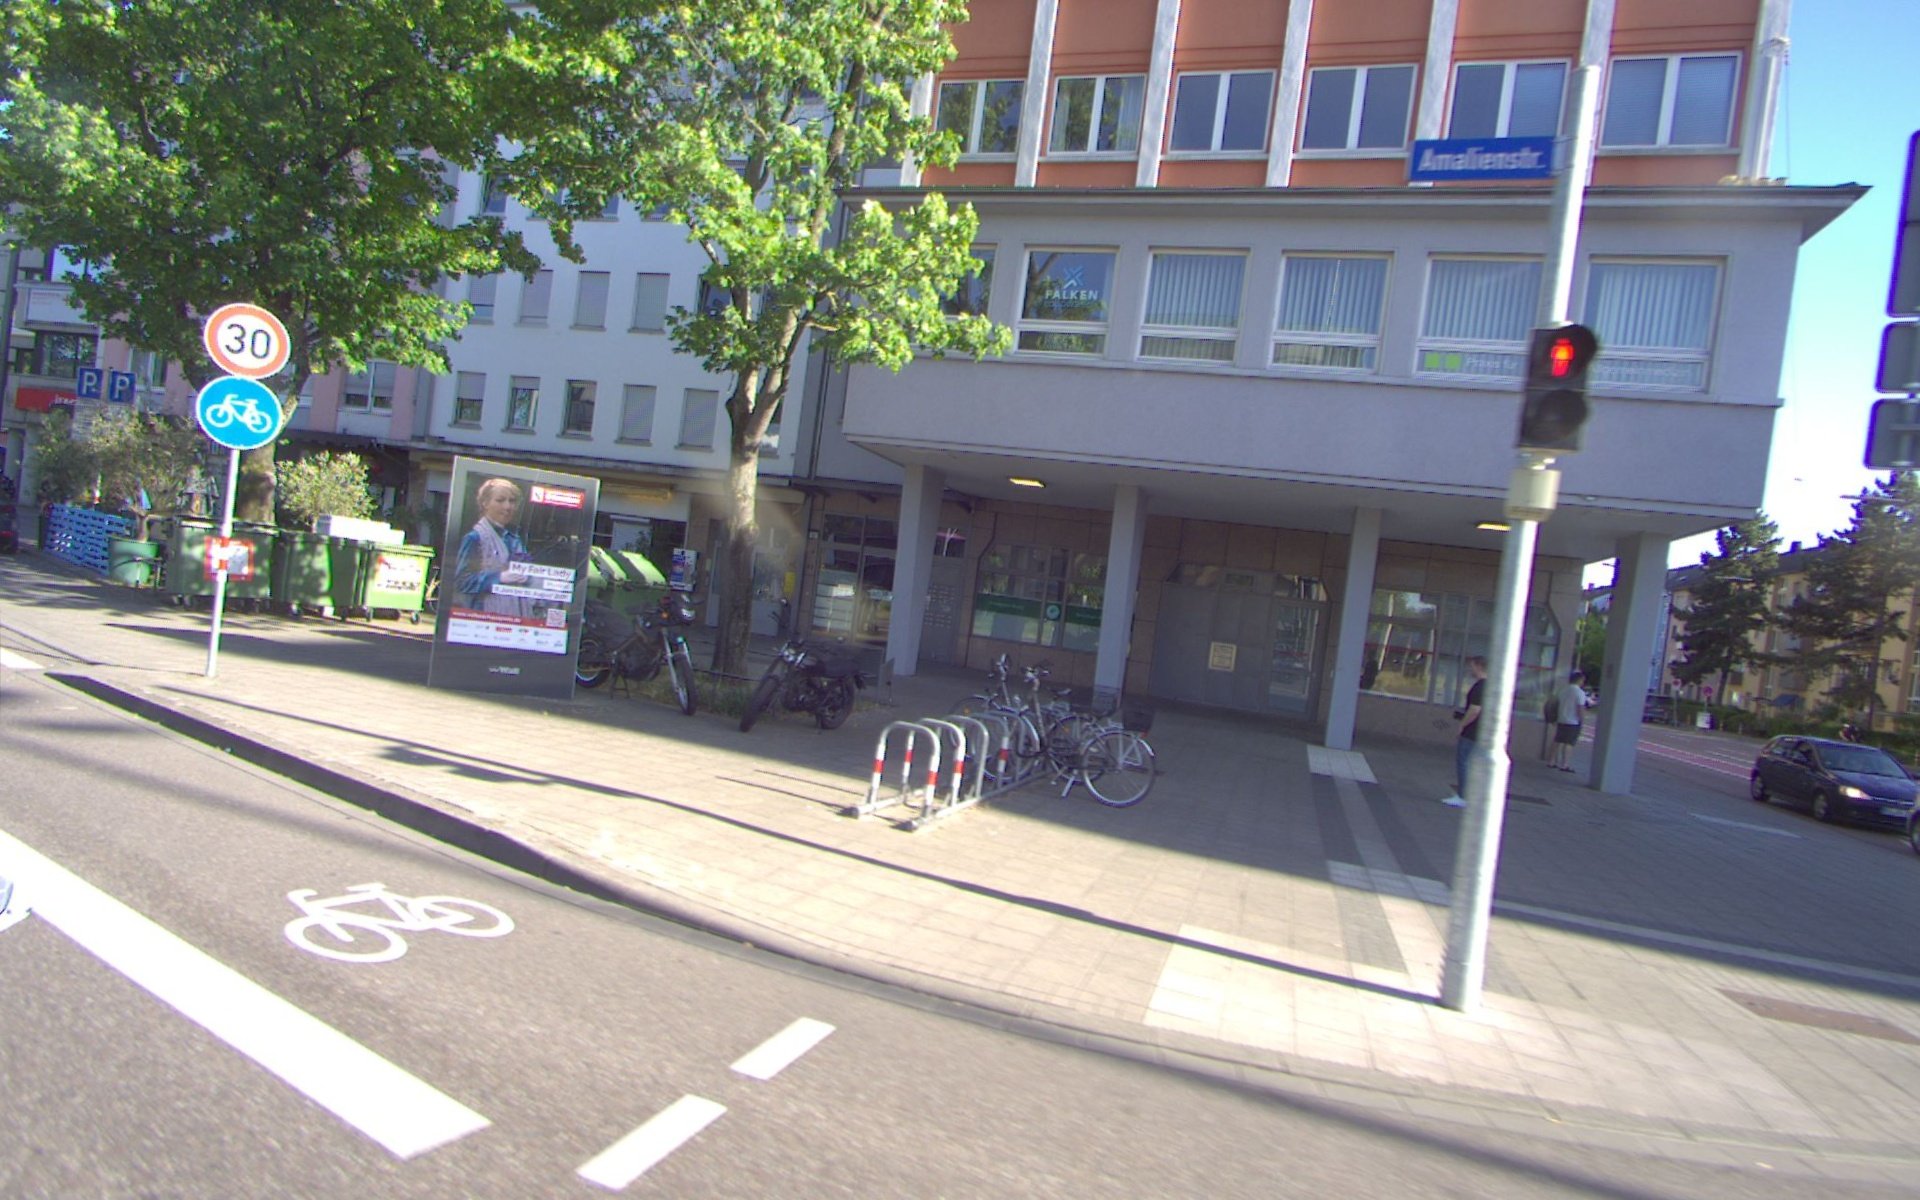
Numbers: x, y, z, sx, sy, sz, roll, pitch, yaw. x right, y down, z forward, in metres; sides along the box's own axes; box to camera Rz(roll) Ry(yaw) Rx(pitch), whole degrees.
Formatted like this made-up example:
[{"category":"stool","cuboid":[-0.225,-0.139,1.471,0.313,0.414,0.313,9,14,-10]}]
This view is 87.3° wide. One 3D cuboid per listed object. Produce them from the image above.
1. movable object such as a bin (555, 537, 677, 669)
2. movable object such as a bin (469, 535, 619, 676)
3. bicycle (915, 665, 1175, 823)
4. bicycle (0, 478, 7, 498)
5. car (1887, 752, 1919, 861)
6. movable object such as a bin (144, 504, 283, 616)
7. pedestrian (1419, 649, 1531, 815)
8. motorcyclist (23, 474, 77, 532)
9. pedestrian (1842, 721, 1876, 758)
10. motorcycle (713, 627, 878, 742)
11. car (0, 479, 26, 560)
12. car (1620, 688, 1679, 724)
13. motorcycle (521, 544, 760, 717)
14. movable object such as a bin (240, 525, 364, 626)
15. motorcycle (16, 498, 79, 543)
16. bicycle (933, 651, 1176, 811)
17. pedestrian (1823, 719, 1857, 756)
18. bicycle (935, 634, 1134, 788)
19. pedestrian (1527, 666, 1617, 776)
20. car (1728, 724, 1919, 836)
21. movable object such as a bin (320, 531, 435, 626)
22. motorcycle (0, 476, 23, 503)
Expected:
[{"category":"movable object such as a bin","cuboid":[-4.923,0.064,14.476,0.927,1.730,1.260,7,1,17]},{"category":"movable object such as a bin","cuboid":[-5.425,0.096,13.212,0.989,1.659,1.386,7,0,17]},{"category":"bicycle","cuboid":[0.726,1.201,8.666,2.079,0.996,0.477,7,-1,15]},{"category":"bicycle","cuboid":[-52.915,-6.175,55.299,1.622,1.046,0.562,6,-2,43]},{"category":"car","cuboid":[14.382,2.987,12.950,1.810,1.519,4.168,6,-2,16]},{"category":"movable object such as a bin","cuboid":[-10.879,-0.571,14.685,0.907,1.407,1.281,7,-2,36]},{"category":"pedestrian","cuboid":[6.339,1.606,12.387,0.878,1.866,0.825,7,-1,40]},{"category":"motorcyclist","cuboid":[-27.566,-2.925,30.483,0.793,1.569,0.899,7,-1,33]},{"category":"pedestrian","cuboid":[45.327,7.017,50.713,0.828,1.693,0.778,7,-1,1]},{"category":"motorcycle","cuboid":[-1.718,0.904,10.957,0.748,1.033,2.105,8,-1,19]},{"category":"car","cuboid":[-20.146,-1.790,19.976,4.517,1.456,1.763,8,1,40]},{"category":"car","cuboid":[46.691,7.130,68.212,1.962,2.037,4.251,7,-2,18]},{"category":"motorcycle","cuboid":[-3.619,0.320,11.342,2.499,1.558,0.805,8,0,25]},{"category":"movable object such as a bin","cuboid":[-10.261,-0.366,15.737,0.910,1.371,1.177,7,-1,19]},{"category":"motorcycle","cuboid":[-27.661,-2.419,30.487,2.260,1.139,0.777,7,-1,33]},{"category":"bicycle","cuboid":[0.873,1.184,9.363,2.079,1.130,0.477,7,-1,15]},{"category":"pedestrian","cuboid":[44.080,6.870,50.375,0.828,1.693,0.778,7,-1,-2]},{"category":"bicycle","cuboid":[0.760,1.104,10.273,1.813,1.258,0.534,7,-1,17]},{"category":"pedestrian","cuboid":[11.106,2.179,18.274,0.884,1.799,0.856,8,-1,-9]},{"category":"car","cuboid":[16.082,3.227,18.538,1.547,1.444,4.166,6,-1,16]},{"category":"movable object such as a bin","cuboid":[-9.873,-0.343,17.093,0.942,1.407,1.218,7,-1,19]},{"category":"motorcycle","cuboid":[-45.012,-5.230,47.612,0.759,1.170,2.026,4,1,-38]}]
